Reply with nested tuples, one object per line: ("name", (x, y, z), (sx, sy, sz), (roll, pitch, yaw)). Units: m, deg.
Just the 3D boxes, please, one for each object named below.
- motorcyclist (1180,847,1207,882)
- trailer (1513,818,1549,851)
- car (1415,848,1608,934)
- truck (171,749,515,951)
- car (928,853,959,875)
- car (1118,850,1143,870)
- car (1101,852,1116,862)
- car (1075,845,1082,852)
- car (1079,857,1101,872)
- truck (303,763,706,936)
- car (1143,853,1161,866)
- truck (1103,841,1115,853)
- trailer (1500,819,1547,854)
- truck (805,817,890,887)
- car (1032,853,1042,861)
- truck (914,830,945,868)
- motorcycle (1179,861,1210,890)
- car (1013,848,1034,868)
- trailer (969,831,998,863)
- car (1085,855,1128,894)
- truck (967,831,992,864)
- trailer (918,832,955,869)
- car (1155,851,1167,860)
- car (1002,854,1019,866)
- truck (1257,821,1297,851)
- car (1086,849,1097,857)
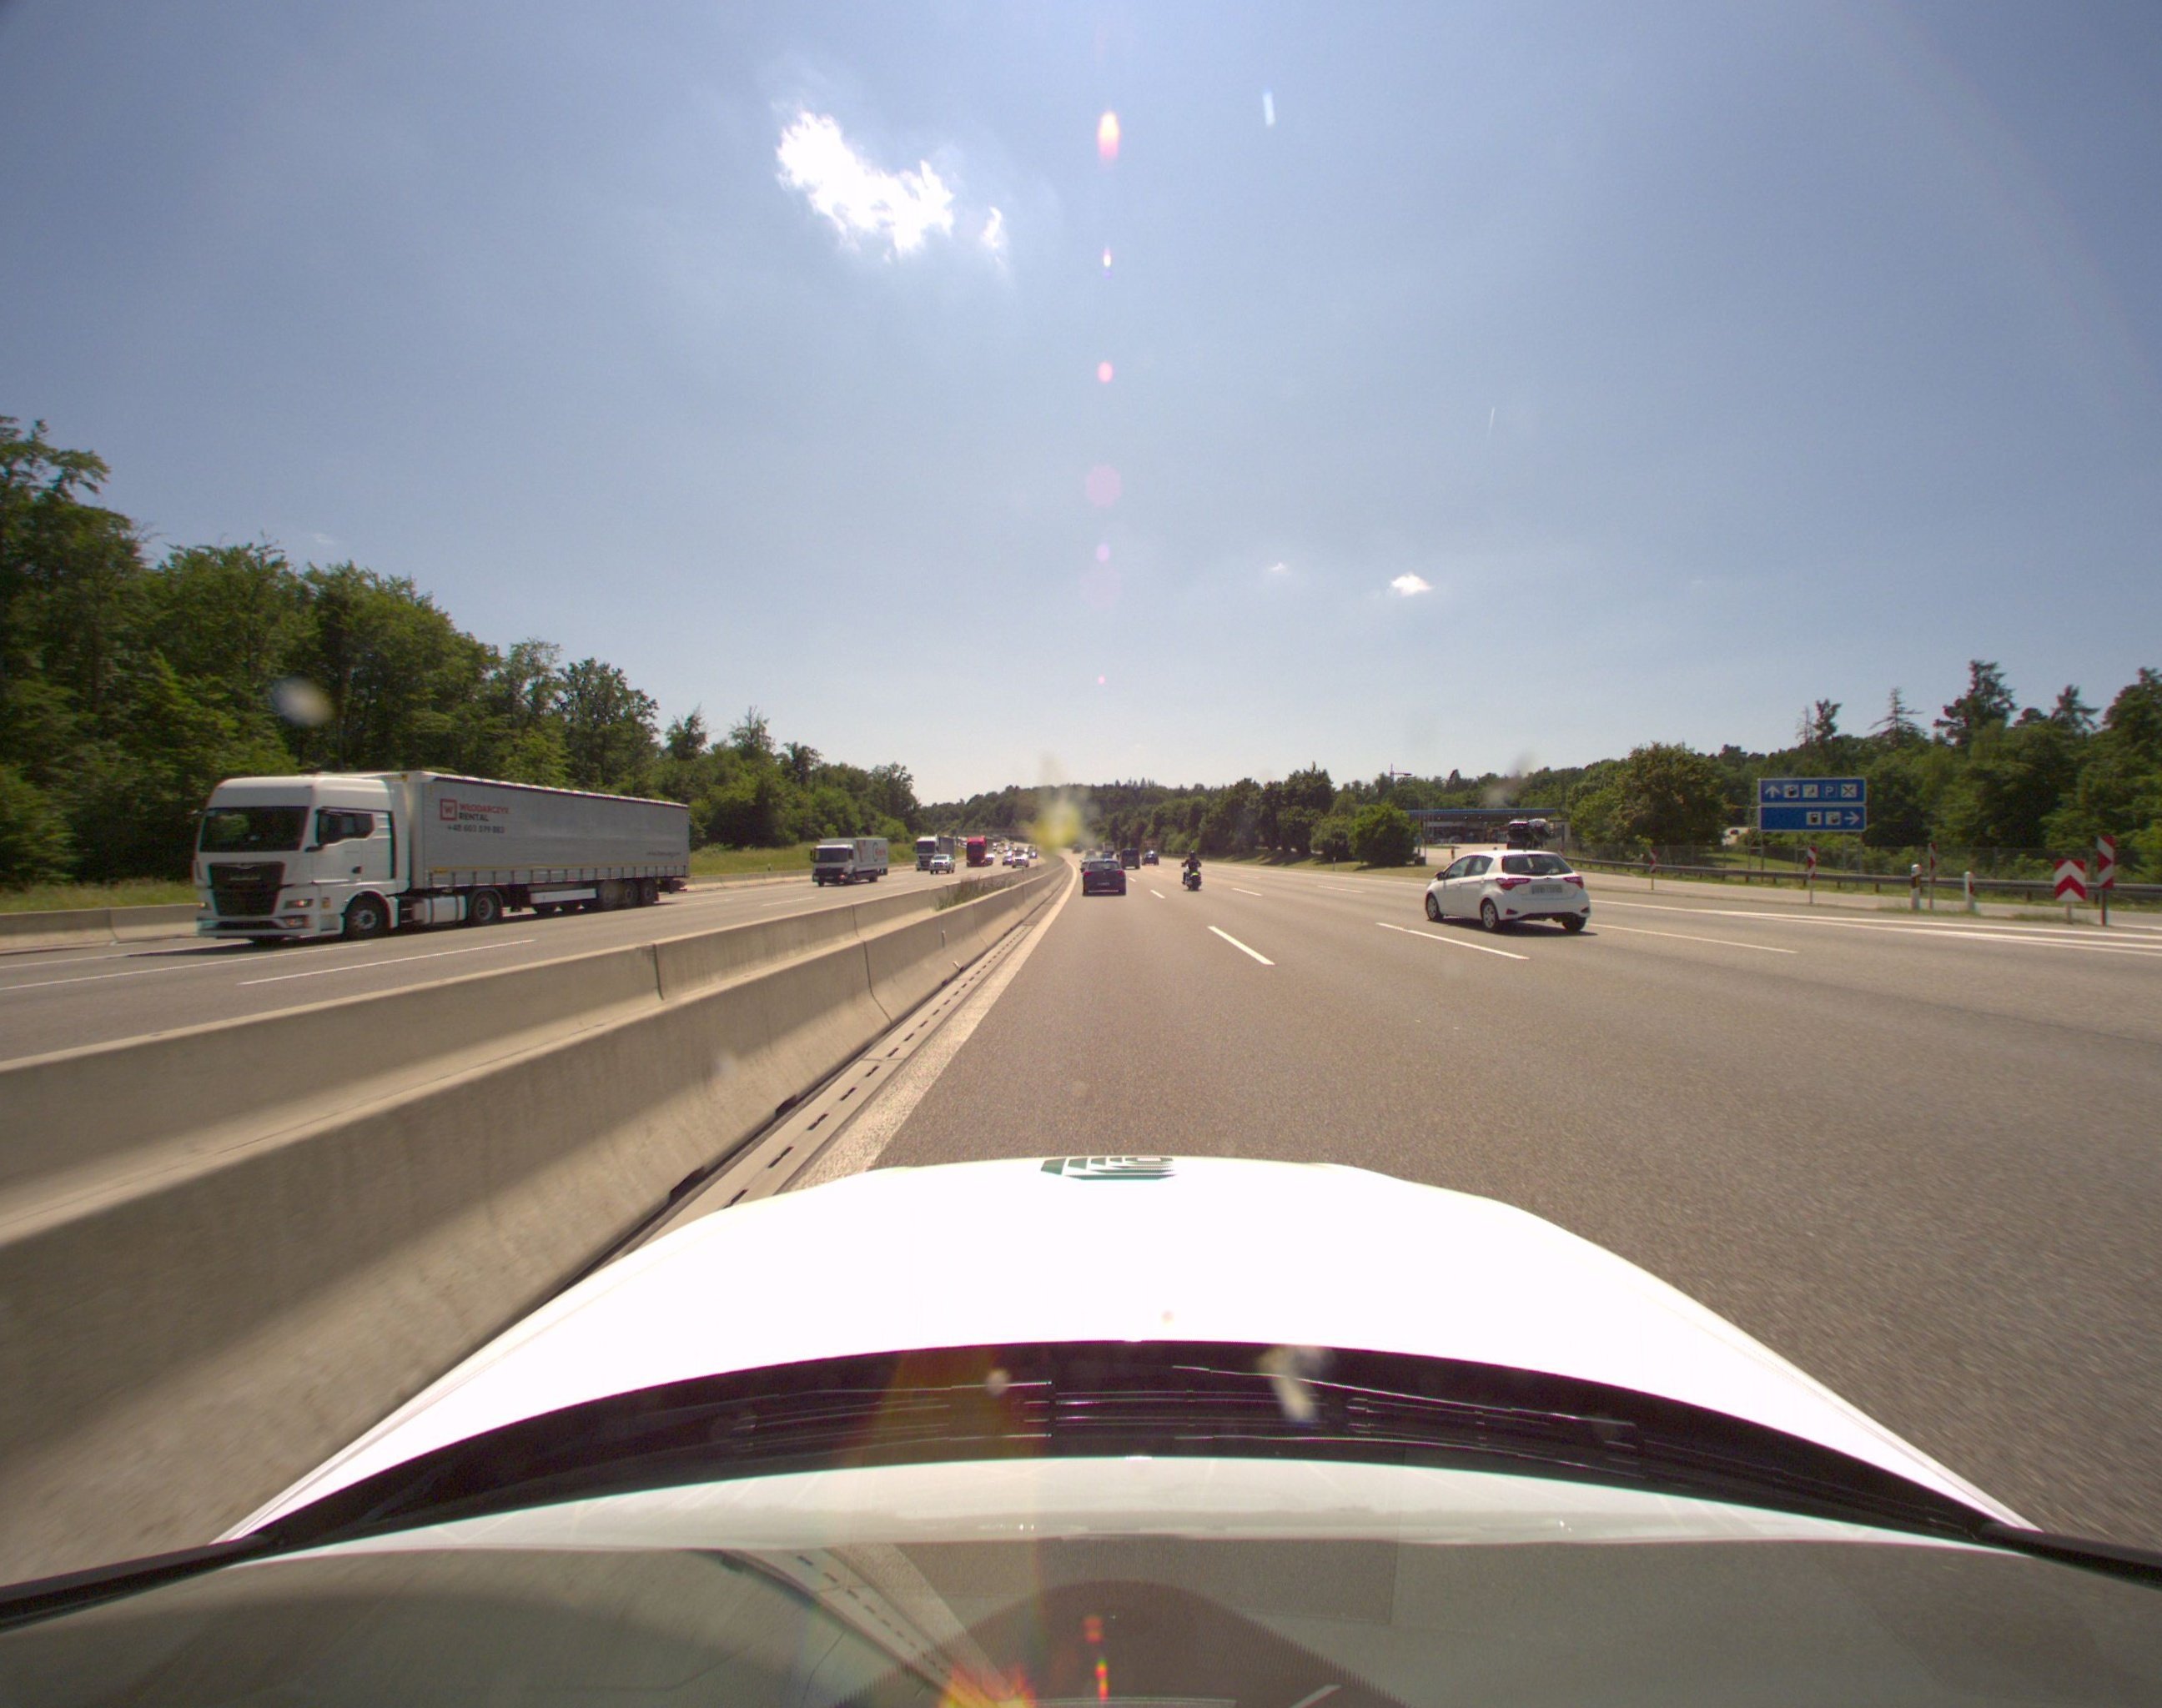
("motorcyclist", (4.733, 0.444, 34.267), (0.959, 1.437, 1.234), (-1, 0, -1))
("trailer", (54.659, -2.407, 98.834), (3.050, 3.898, 6.002), (-1, 1, 35))
("car", (8.168, 0.632, 15.949), (1.659, 1.433, 4.379), (-1, 0, 3))
("truck", (-17.635, -0.081, 20.174), (2.672, 4.177, 6.233), (-1, 0, 2))
("car", (-13.259, 0.905, 78.792), (1.987, 1.970, 5.737), (-1, 0, 0))
("car", (4.773, 0.585, 79.063), (2.091, 1.851, 4.079), (-1, 0, -1))
("car", (3.824, 0.375, 114.455), (1.836, 1.222, 4.223), (2, 1, 0))
("car", (-0.613, -1.525, 233.152), (1.987, 2.013, 4.673), (2, 1, 0))
("car", (0.783, 0.909, 71.062), (1.777, 1.265, 3.459), (-2, 0, -1))
("truck", (-17.428, -0.086, 27.150), (2.747, 4.177, 14.512), (-1, 0, 1))
("car", (8.304, 0.614, 95.275), (1.670, 1.432, 3.683), (1, 0, -1))
("truck", (6.646, -1.620, 194.451), (2.718, 2.786, 5.682), (2, 1, 0))
("trailer", (50.692, -2.062, 93.043), (3.128, 3.637, 13.709), (-1, 1, 35))
("truck", (-15.278, -0.122, 54.120), (2.521, 4.177, 9.623), (-1, 0, 2))
("car", (-9.408, 0.663, 173.478), (1.988, 1.548, 4.879), (-2, 0, -1))
("truck", (-17.959, -0.621, 96.668), (2.494, 4.351, 6.602), (-1, 1, -1))
("motorcycle", (4.766, 0.882, 34.361), (0.974, 1.129, 2.270), (-1, 0, 0))
("car", (-6.951, 0.475, 98.618), (1.987, 2.289, 5.765), (-1, 0, 0))
("trailer", (-13.938, -1.031, 117.697), (2.493, 4.351, 14.298), (-1, 1, -1))
("car", (0.981, 0.817, 32.845), (1.619, 1.487, 3.685), (-1, -1, 0))
("truck", (-13.845, -0.958, 111.180), (2.493, 4.351, 6.604), (-1, 1, 0))
("trailer", (-18.145, -0.401, 102.994), (2.494, 4.351, 13.688), (-1, 0, -2))
("car", (12.175, 0.201, 124.409), (1.602, 1.212, 3.462), (-1, -1, 2))
("car", (-10.110, 0.838, 116.946), (1.987, 1.548, 4.881), (-1, 0, 0))
("truck", (33.642, -2.921, 140.409), (3.315, 4.829, 14.698), (-1, 0, 1))
("car", (2.073, -0.221, 163.033), (1.987, 1.684, 4.423), (2, 1, 0))
